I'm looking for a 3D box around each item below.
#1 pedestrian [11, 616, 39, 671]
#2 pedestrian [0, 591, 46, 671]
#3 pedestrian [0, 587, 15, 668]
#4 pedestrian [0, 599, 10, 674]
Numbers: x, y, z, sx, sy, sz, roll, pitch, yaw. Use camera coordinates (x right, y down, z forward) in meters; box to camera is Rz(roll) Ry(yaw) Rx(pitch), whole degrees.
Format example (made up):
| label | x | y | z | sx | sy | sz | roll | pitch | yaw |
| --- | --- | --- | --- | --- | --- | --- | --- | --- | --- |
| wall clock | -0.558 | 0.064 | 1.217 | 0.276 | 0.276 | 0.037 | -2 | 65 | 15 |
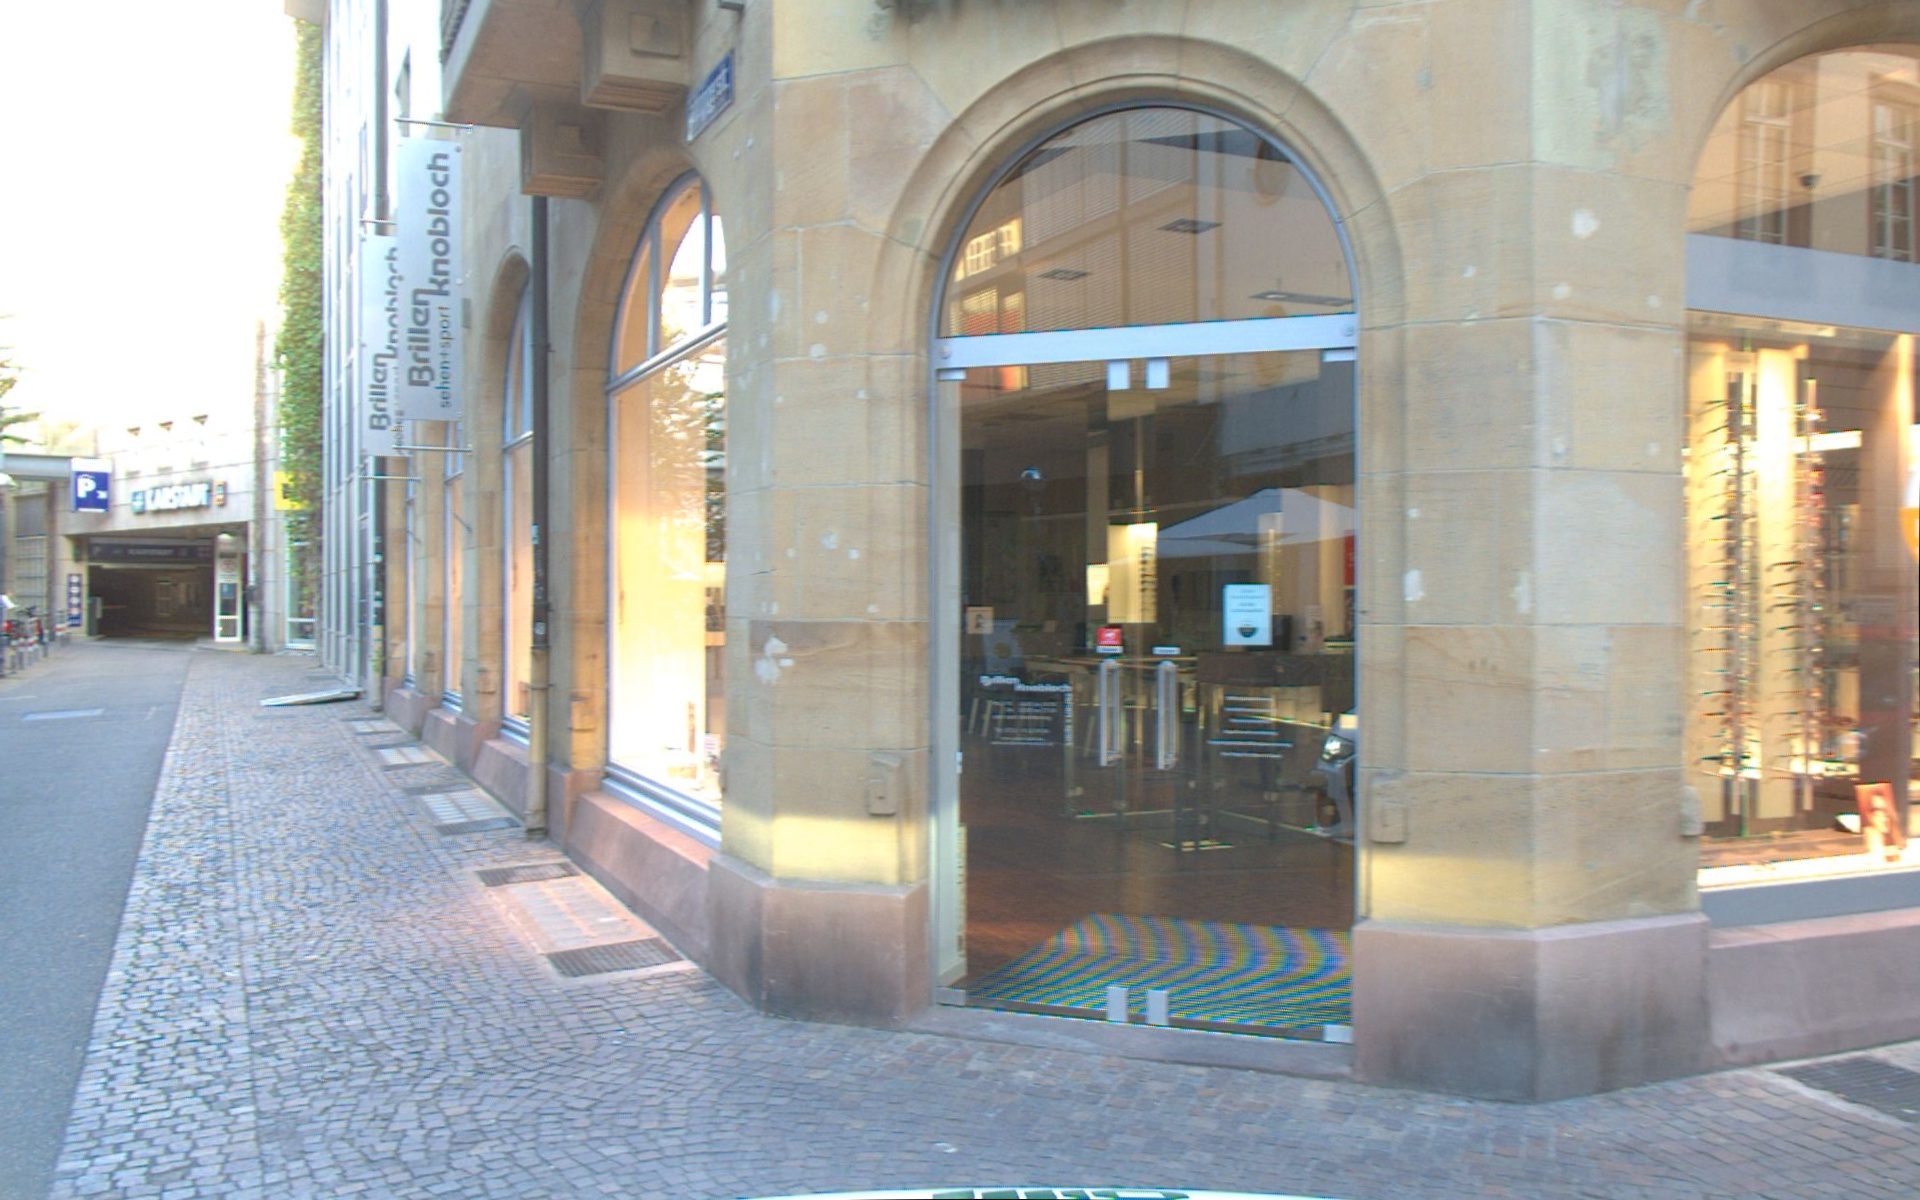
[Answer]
| label | x | y | z | sx | sy | sz | roll | pitch | yaw |
| --- | --- | --- | --- | --- | --- | --- | --- | --- | --- |
| pedestrian | -20.454 | 0.956 | 36.188 | 0.460 | 1.188 | 0.518 | 1 | -1 | -24 |
| pedestrian | -21.338 | 0.695 | 37.639 | 0.852 | 1.788 | 0.793 | 1 | -1 | -24 |
| pedestrian | -21.467 | 0.600 | 36.841 | 0.622 | 1.788 | 0.793 | 1 | -1 | -24 |
| pedestrian | -21.238 | 0.790 | 36.310 | 0.577 | 1.632 | 0.623 | 1 | -1 | -24 |
